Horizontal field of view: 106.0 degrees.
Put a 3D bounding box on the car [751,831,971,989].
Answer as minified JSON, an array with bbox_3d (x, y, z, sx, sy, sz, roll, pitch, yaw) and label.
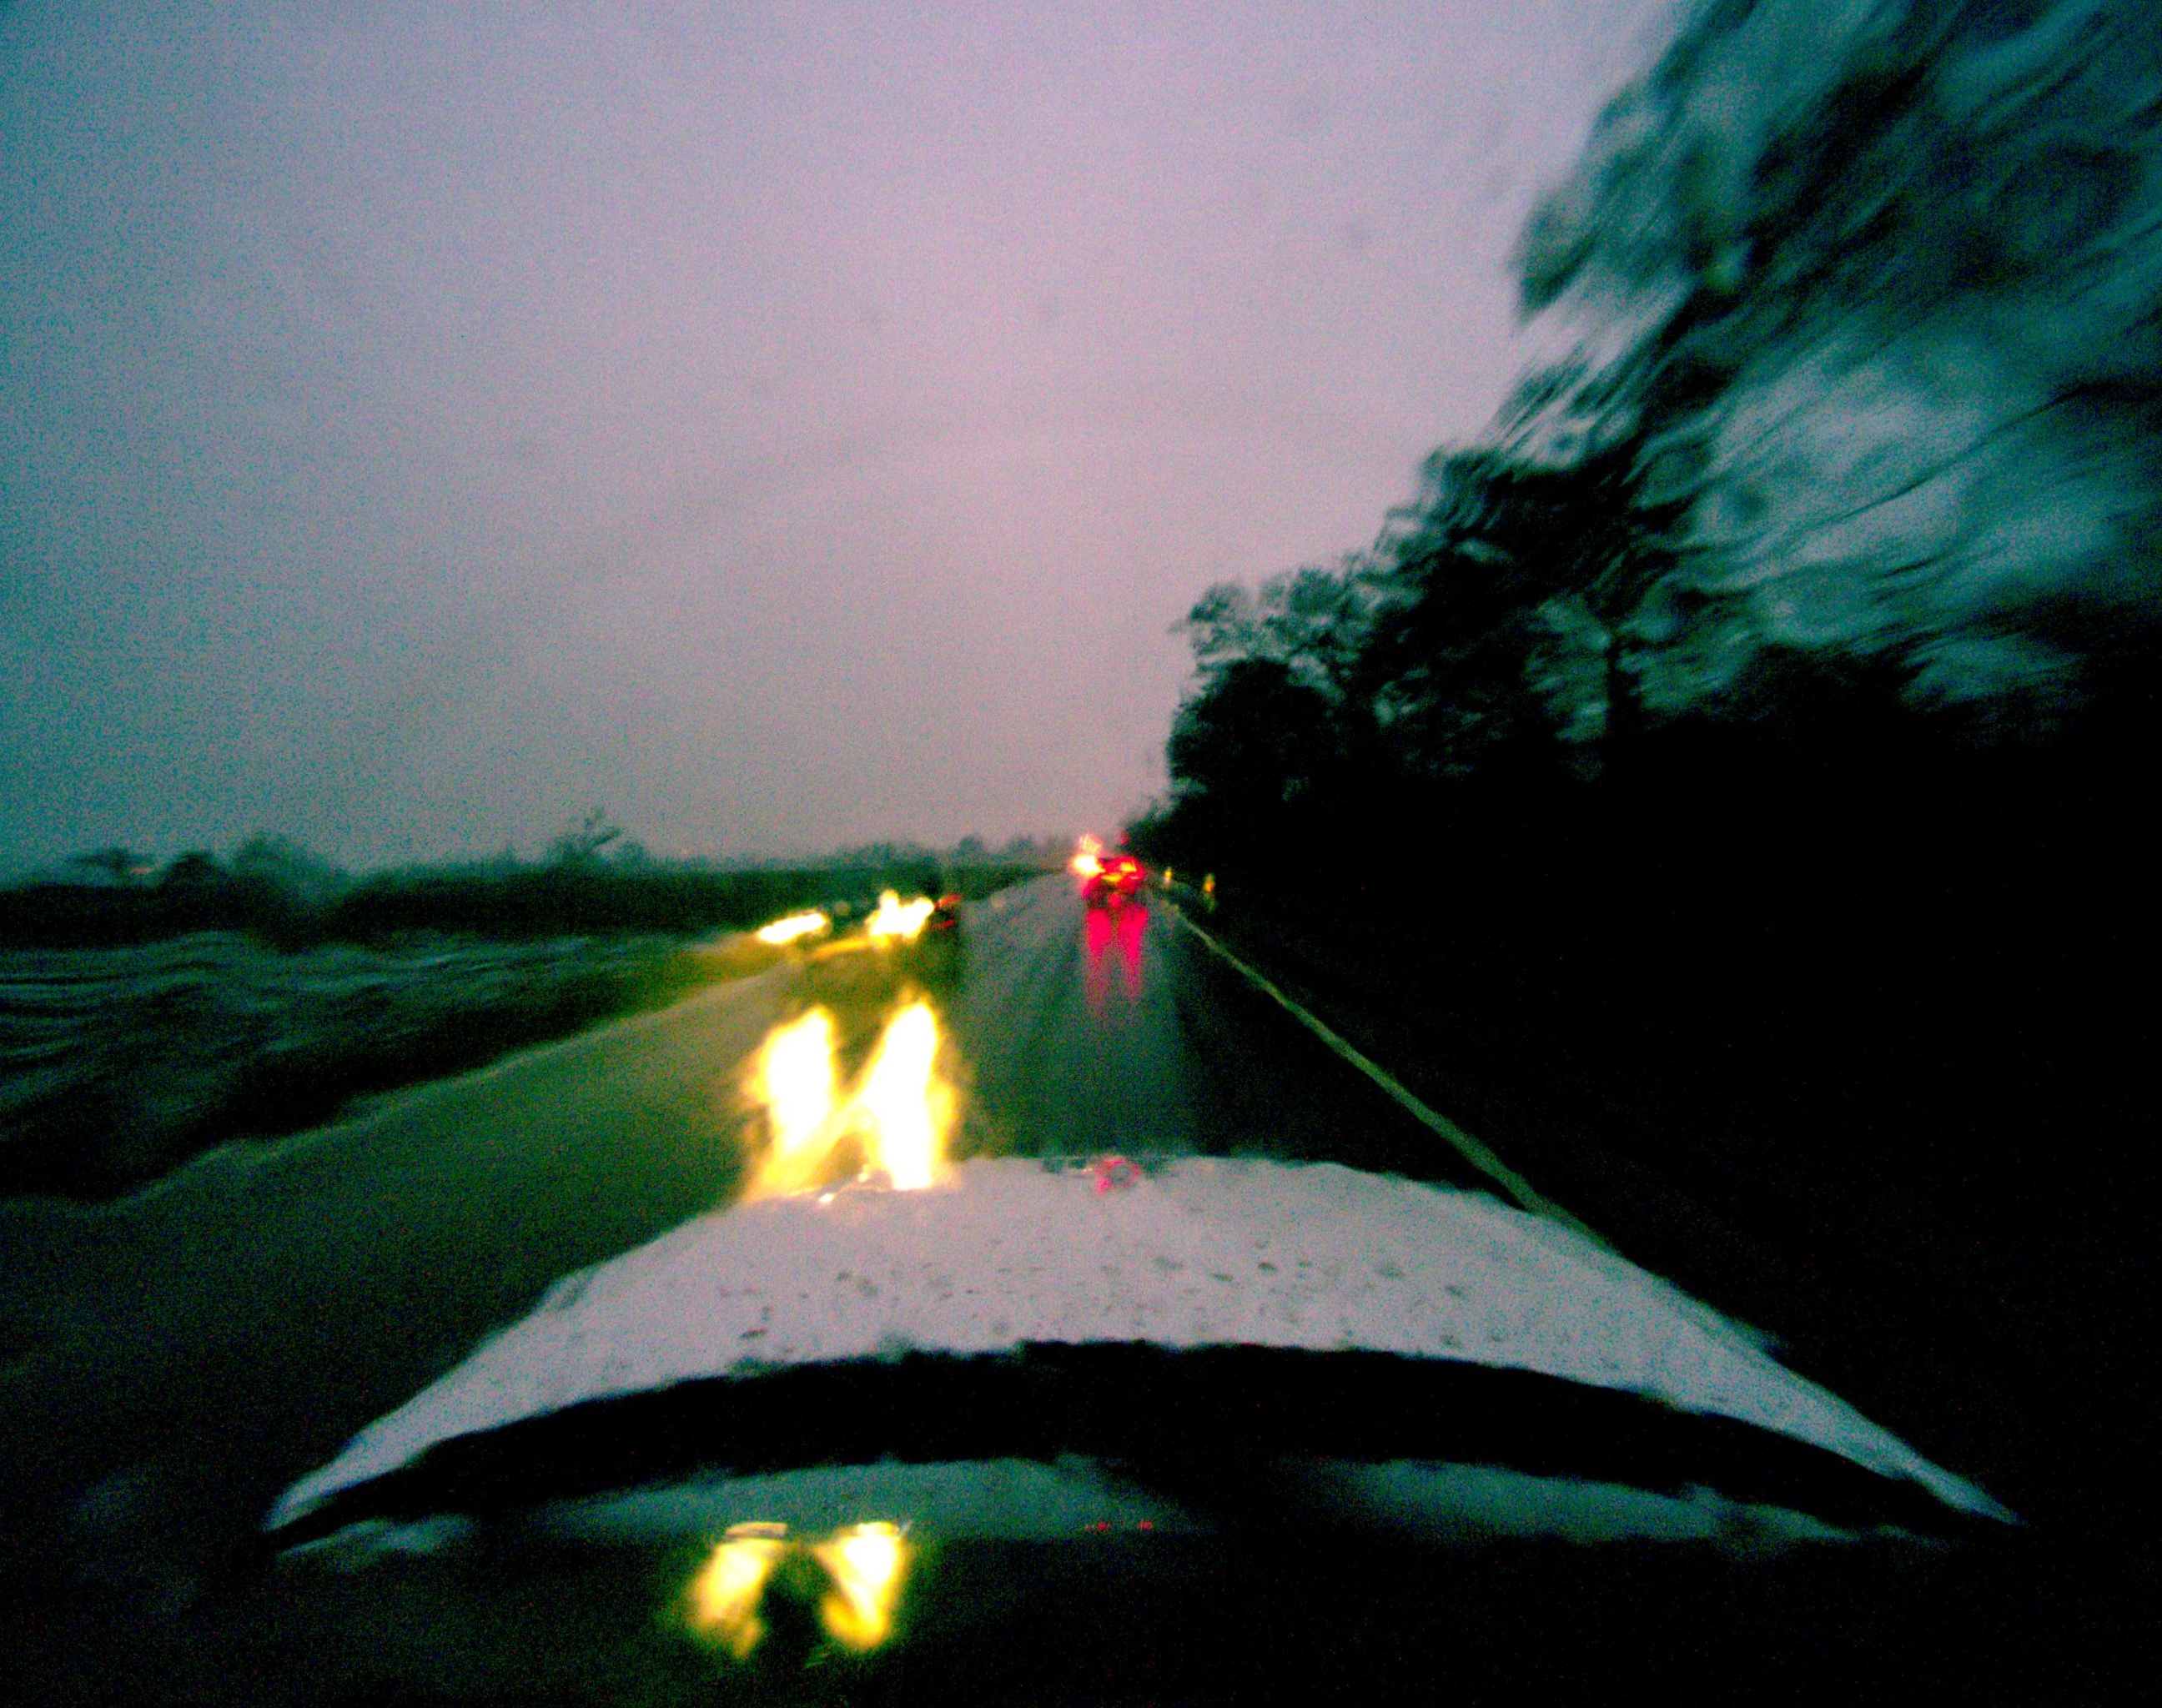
[{"bbox_3d":[-2.993,0.695,12.066,1.987,1.823,4.001,-4,0,1],"label":"car"}]

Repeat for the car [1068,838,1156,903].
[{"bbox_3d":[1.132,0.558,28.993,2.809,2.077,5.807,0,0,2],"label":"car"}]

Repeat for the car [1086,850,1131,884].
[{"bbox_3d":[1.728,0.768,50.494,2.582,2.014,5.807,0,0,2],"label":"car"}]
